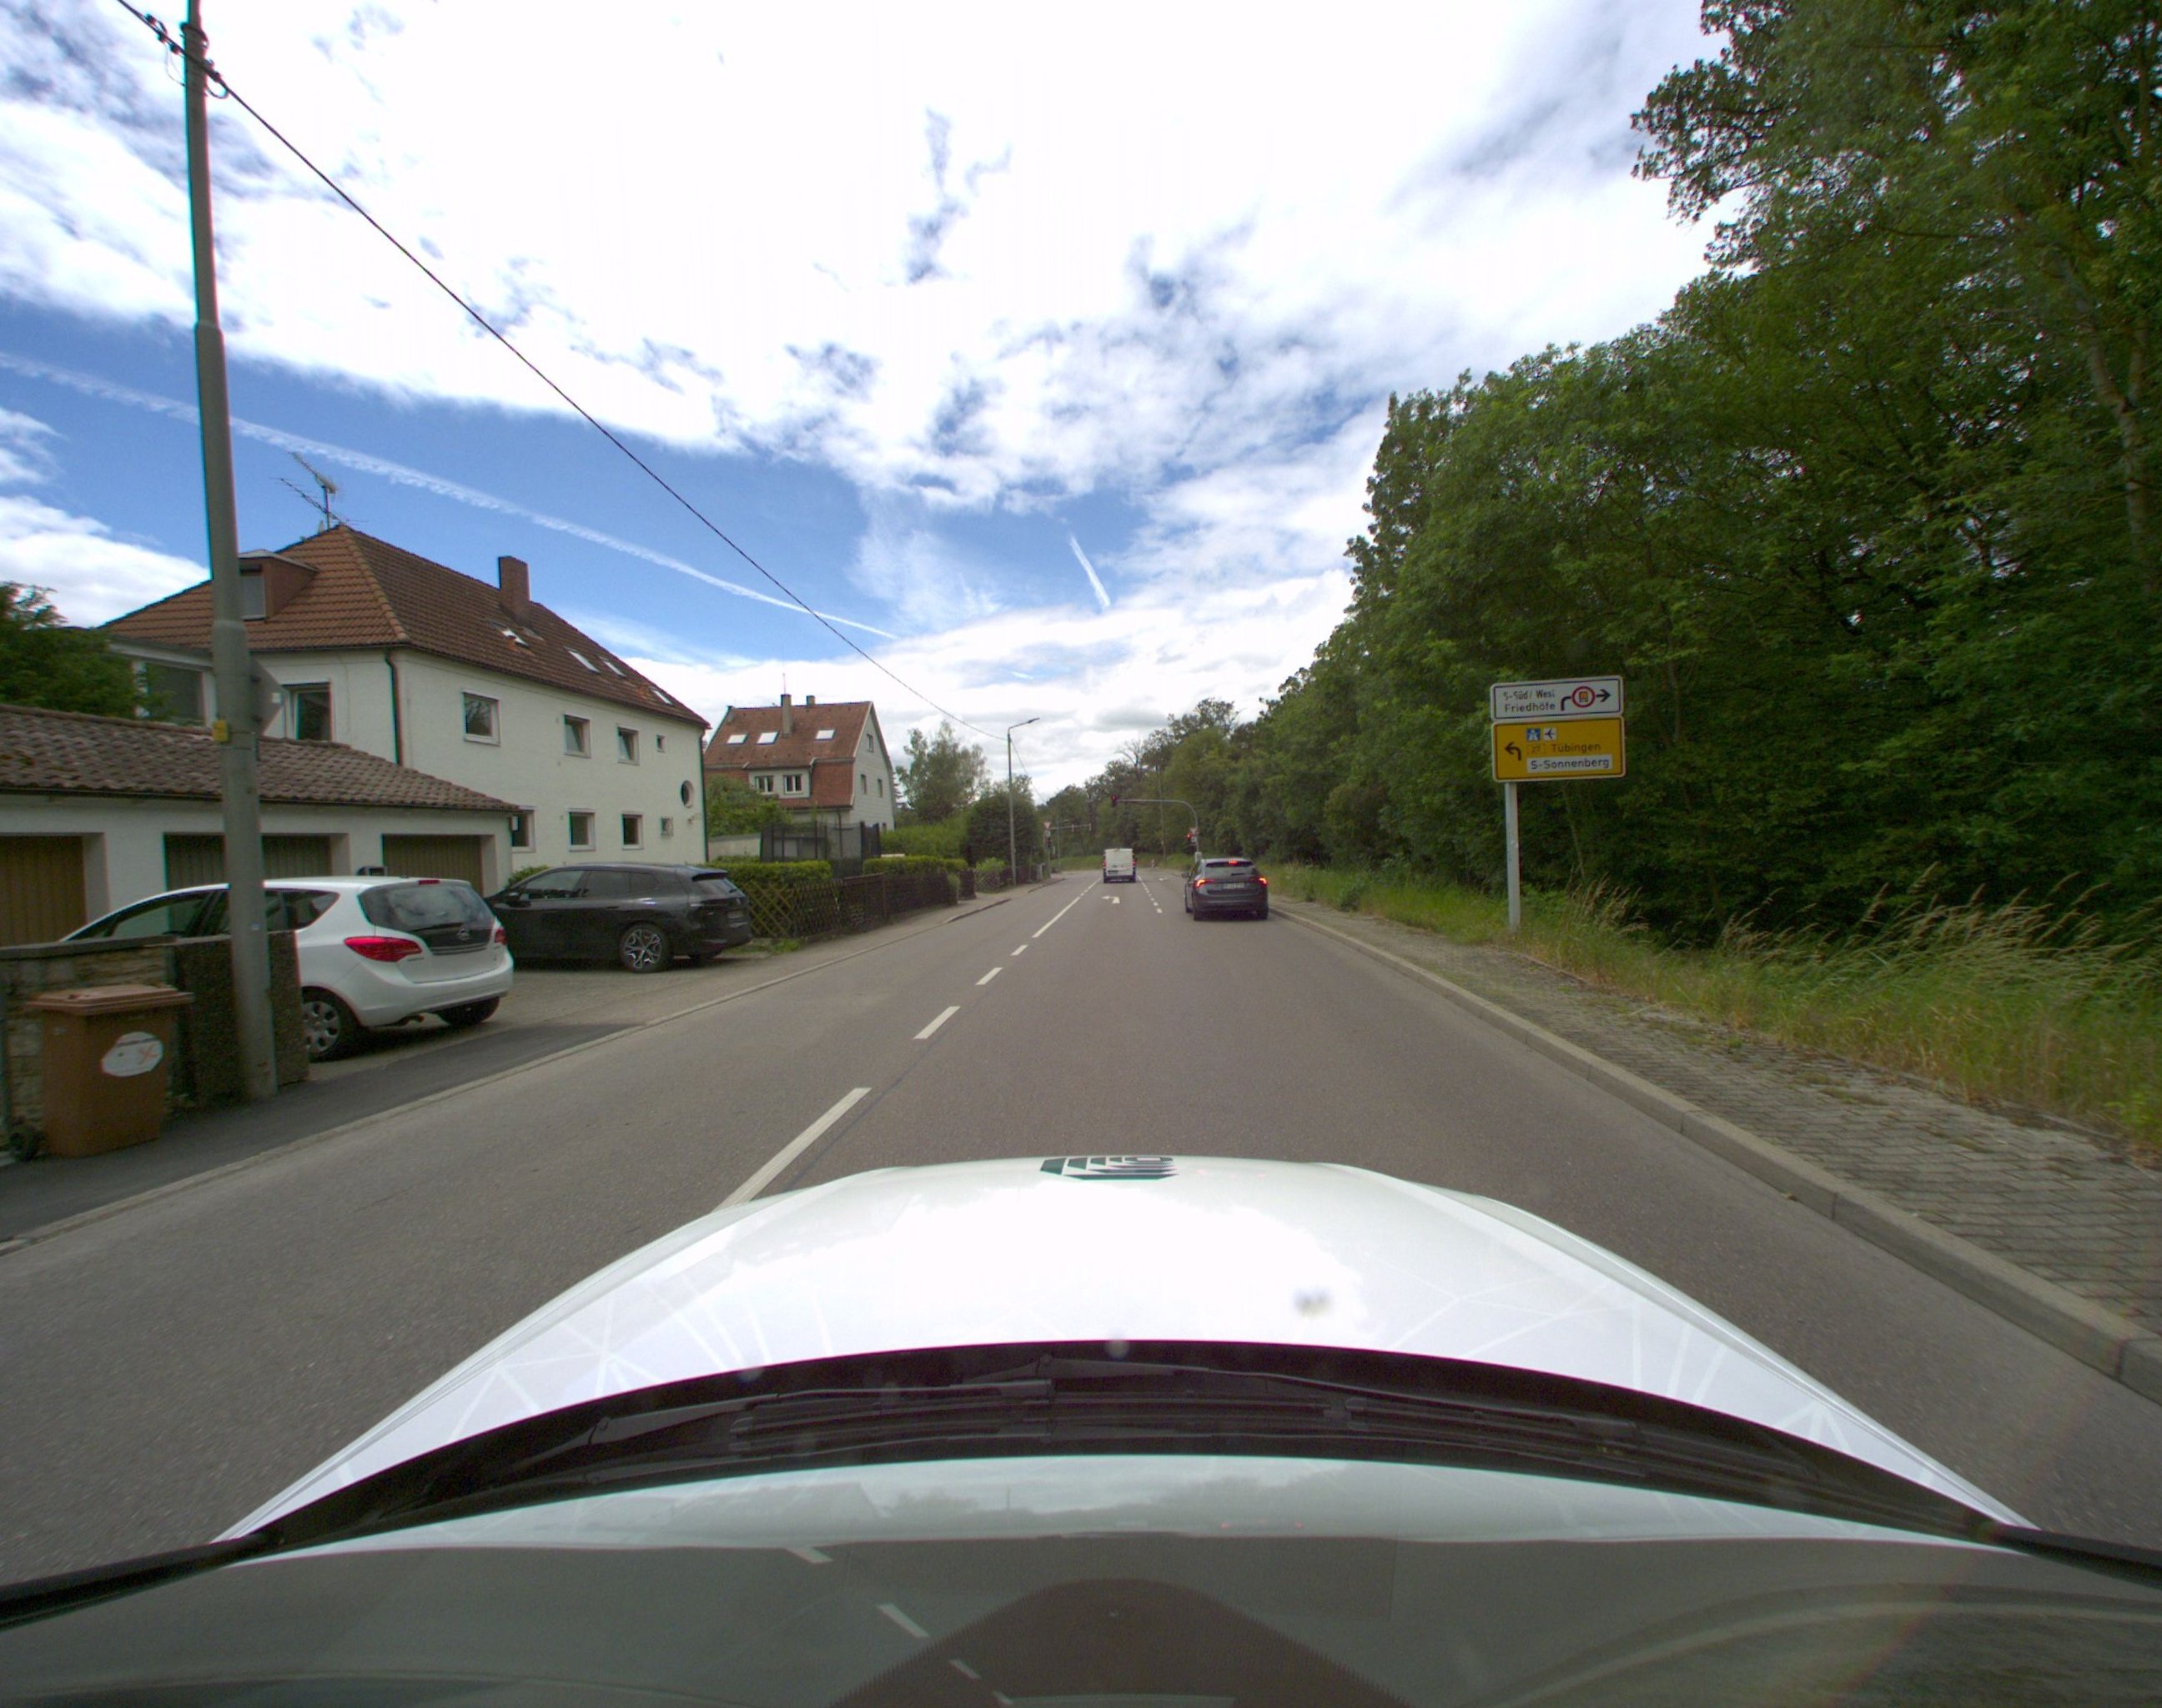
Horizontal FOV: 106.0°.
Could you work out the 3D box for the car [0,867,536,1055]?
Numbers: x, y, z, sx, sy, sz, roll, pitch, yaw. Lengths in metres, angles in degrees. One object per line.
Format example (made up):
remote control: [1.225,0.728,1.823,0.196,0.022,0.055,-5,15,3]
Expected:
car: [-7.871,0.944,7.952,3.970,1.594,1.720,0,-1,3]

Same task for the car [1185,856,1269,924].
car: [3.524,0.810,20.177,1.783,1.450,4.009,-3,-1,8]

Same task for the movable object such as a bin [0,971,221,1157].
movable object such as a bin: [-5.781,1.224,4.858,0.684,0.954,0.573,-3,-1,7]

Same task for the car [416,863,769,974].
car: [-7.818,0.992,13.344,4.652,1.669,1.884,0,-1,2]

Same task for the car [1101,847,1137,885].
car: [2.189,0.674,48.173,1.910,2.053,4.614,-2,-1,1]

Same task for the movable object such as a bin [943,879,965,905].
movable object such as a bin: [-4.690,1.388,30.074,0.628,0.913,0.562,0,0,15]
